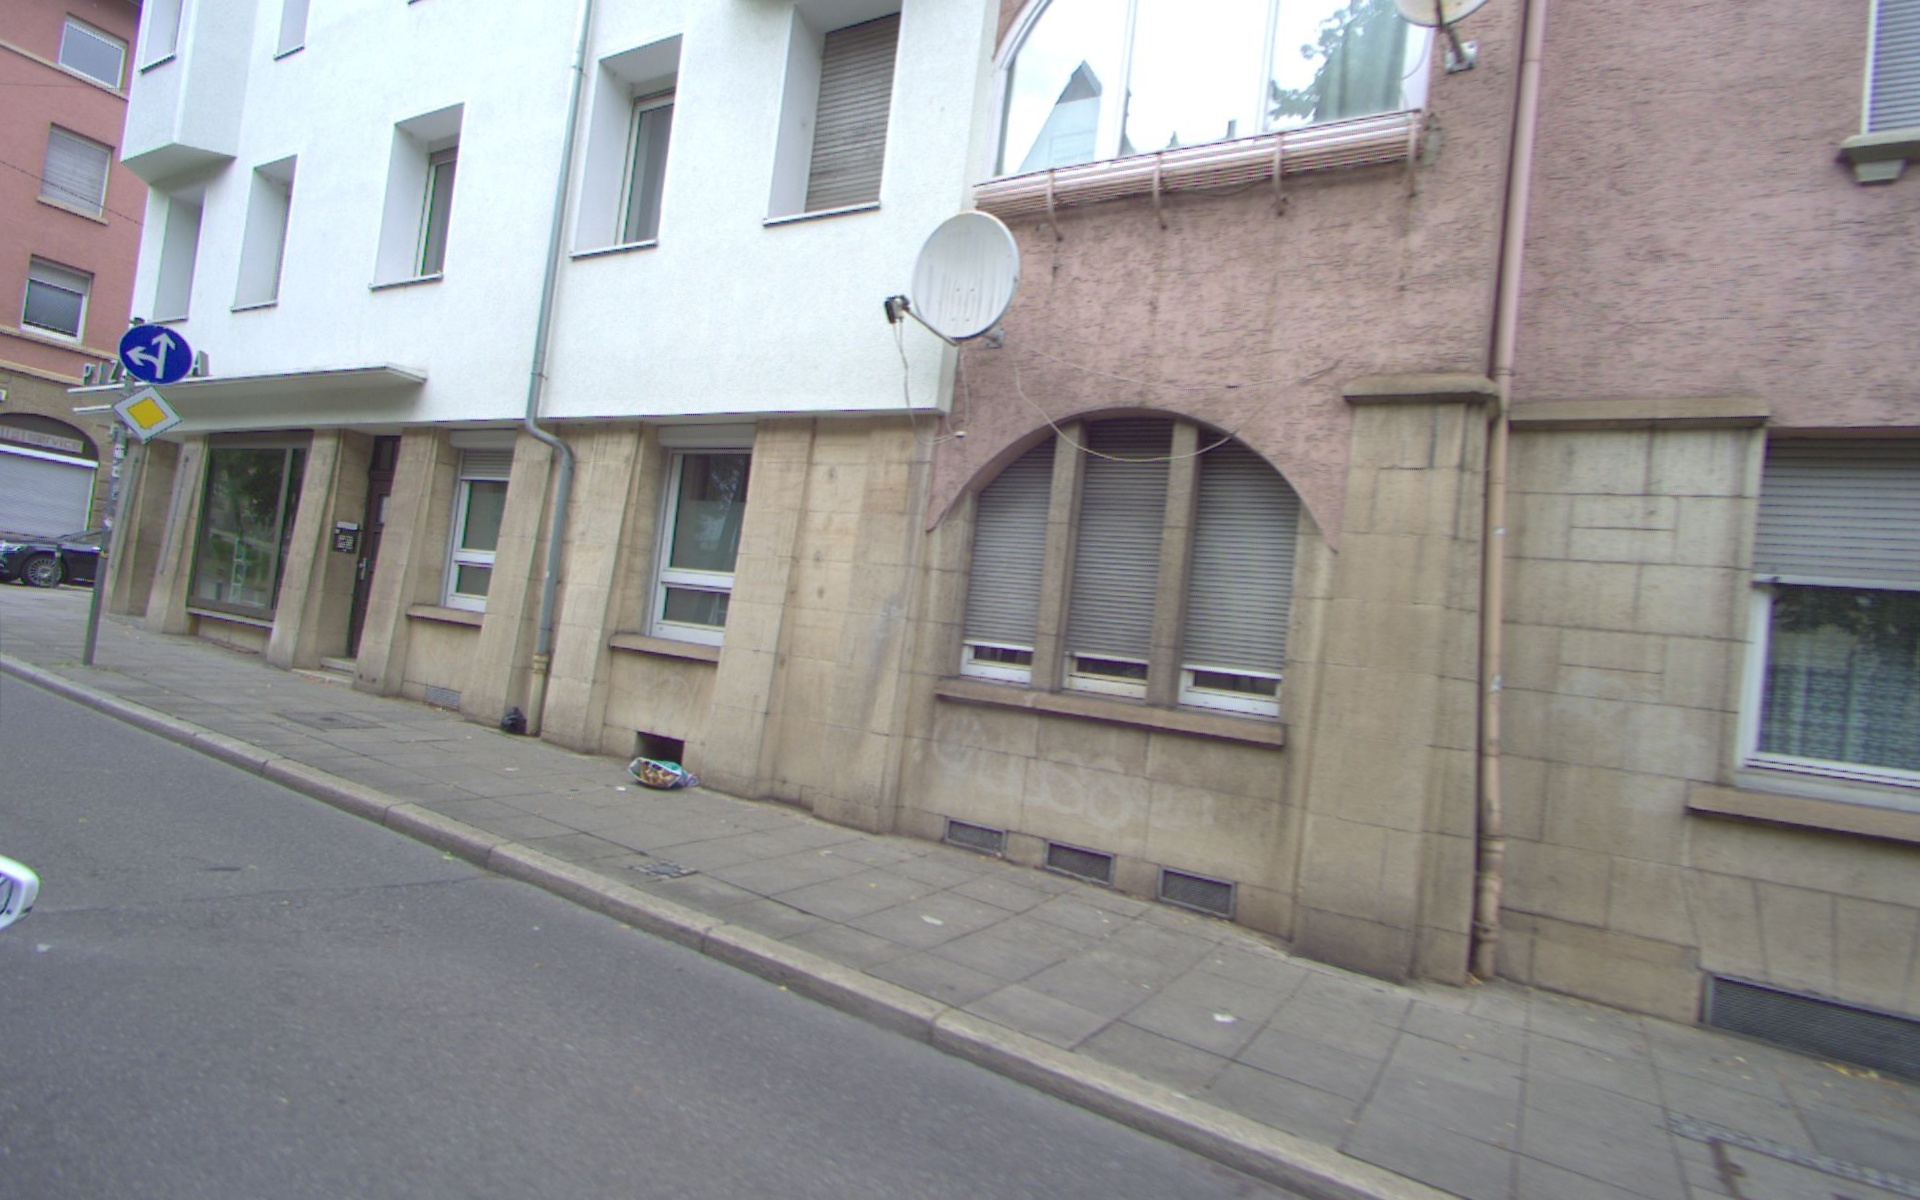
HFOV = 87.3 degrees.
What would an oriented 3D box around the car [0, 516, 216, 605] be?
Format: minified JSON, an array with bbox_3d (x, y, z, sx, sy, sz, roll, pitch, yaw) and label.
[{"bbox_3d":[-18.578,-0.843,21.310,1.963,1.392,4.002,7,-1,21],"label":"car"}]
